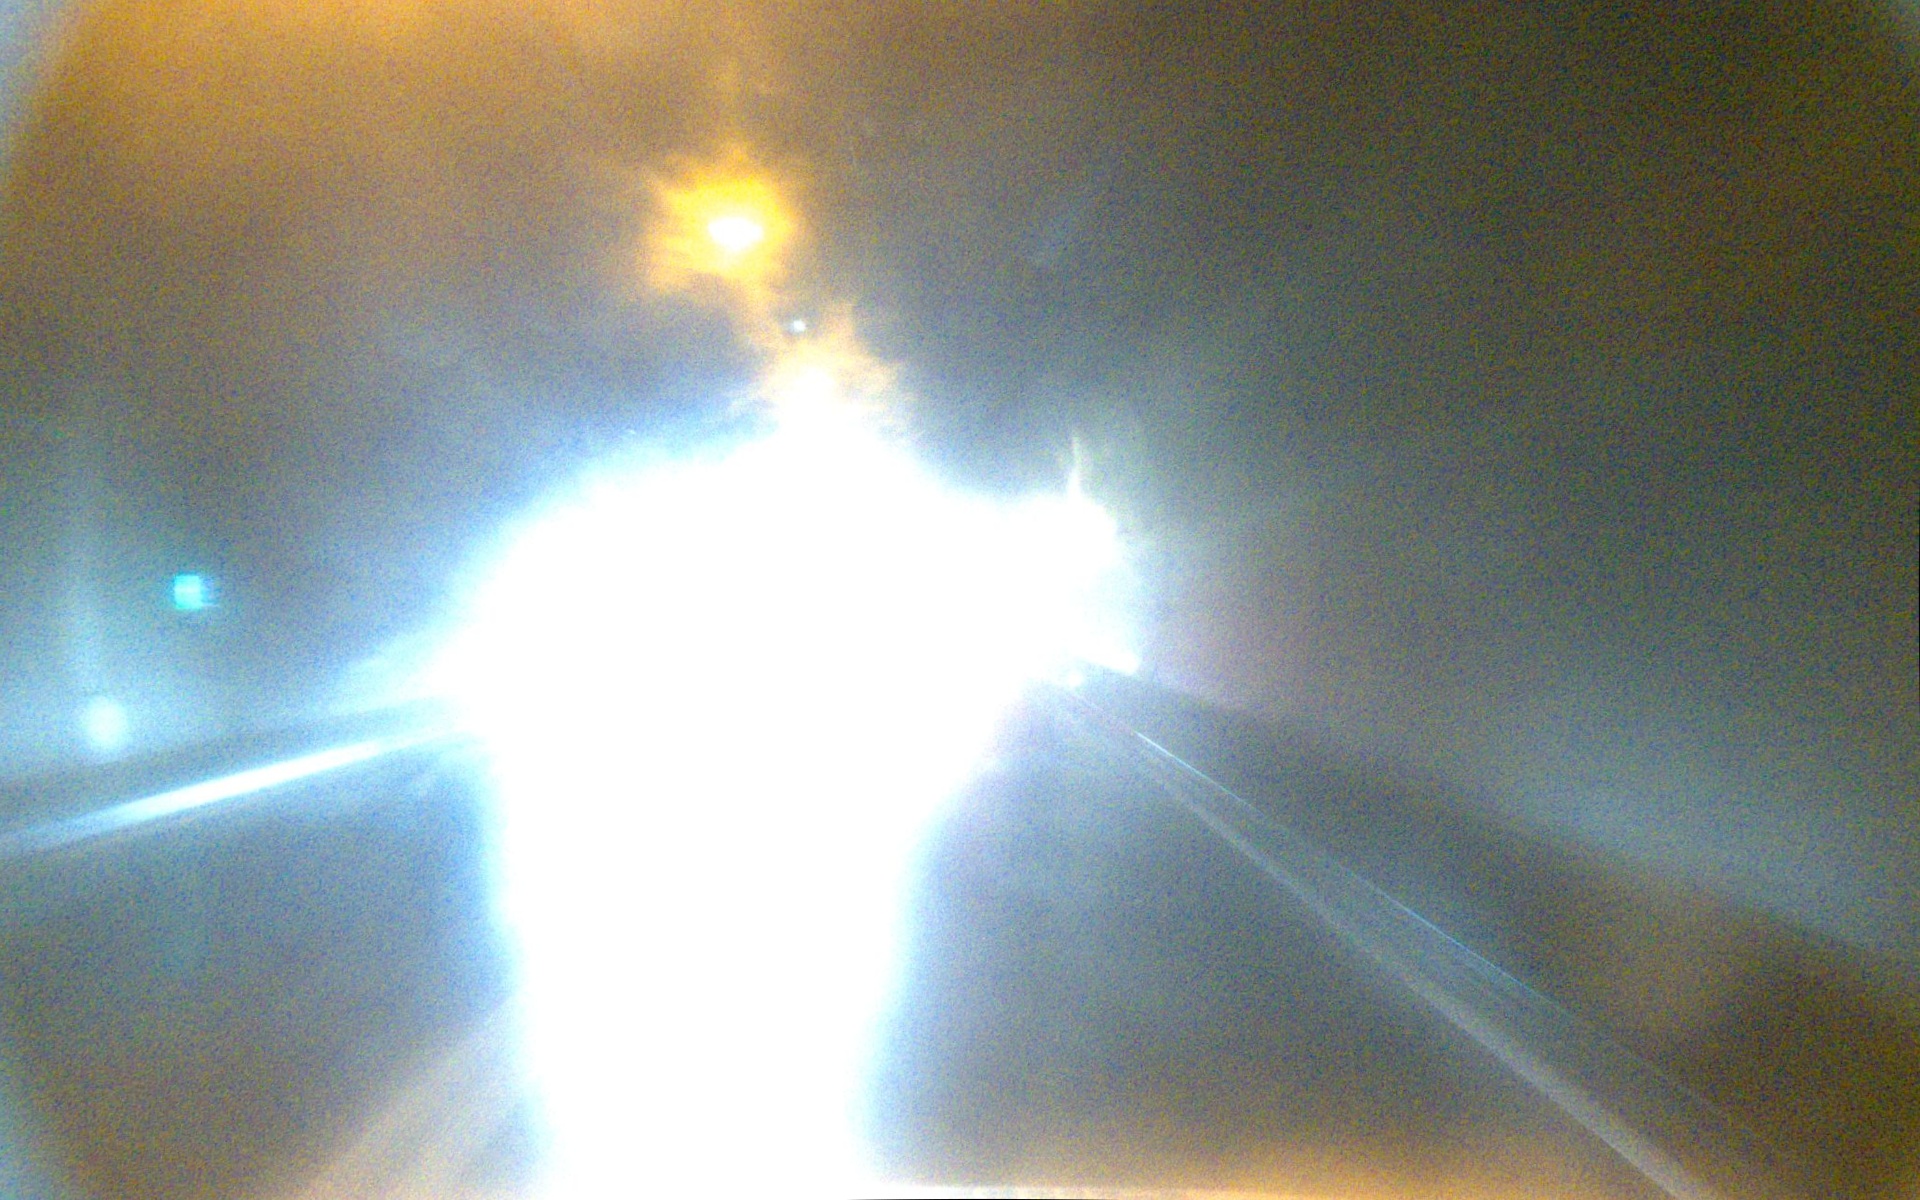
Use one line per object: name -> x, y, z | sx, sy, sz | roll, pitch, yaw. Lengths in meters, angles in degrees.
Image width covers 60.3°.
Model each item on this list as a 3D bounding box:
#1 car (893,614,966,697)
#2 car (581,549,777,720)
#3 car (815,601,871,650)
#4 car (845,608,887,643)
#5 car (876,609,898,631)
car -> -0.702, 1.234, 38.552 | 1.602, 1.788, 4.144 | 1, 0, -1
car -> -3.551, 0.410, 21.794 | 1.745, 1.962, 5.137 | 1, 0, -1
car -> -4.214, 0.899, 60.035 | 1.745, 1.705, 4.560 | 1, 0, -1
car -> -4.907, 1.291, 86.330 | 1.878, 1.758, 3.993 | 1, 0, -8
car -> -6.005, 1.644, 135.693 | 1.663, 1.705, 4.126 | 1, 0, -1
